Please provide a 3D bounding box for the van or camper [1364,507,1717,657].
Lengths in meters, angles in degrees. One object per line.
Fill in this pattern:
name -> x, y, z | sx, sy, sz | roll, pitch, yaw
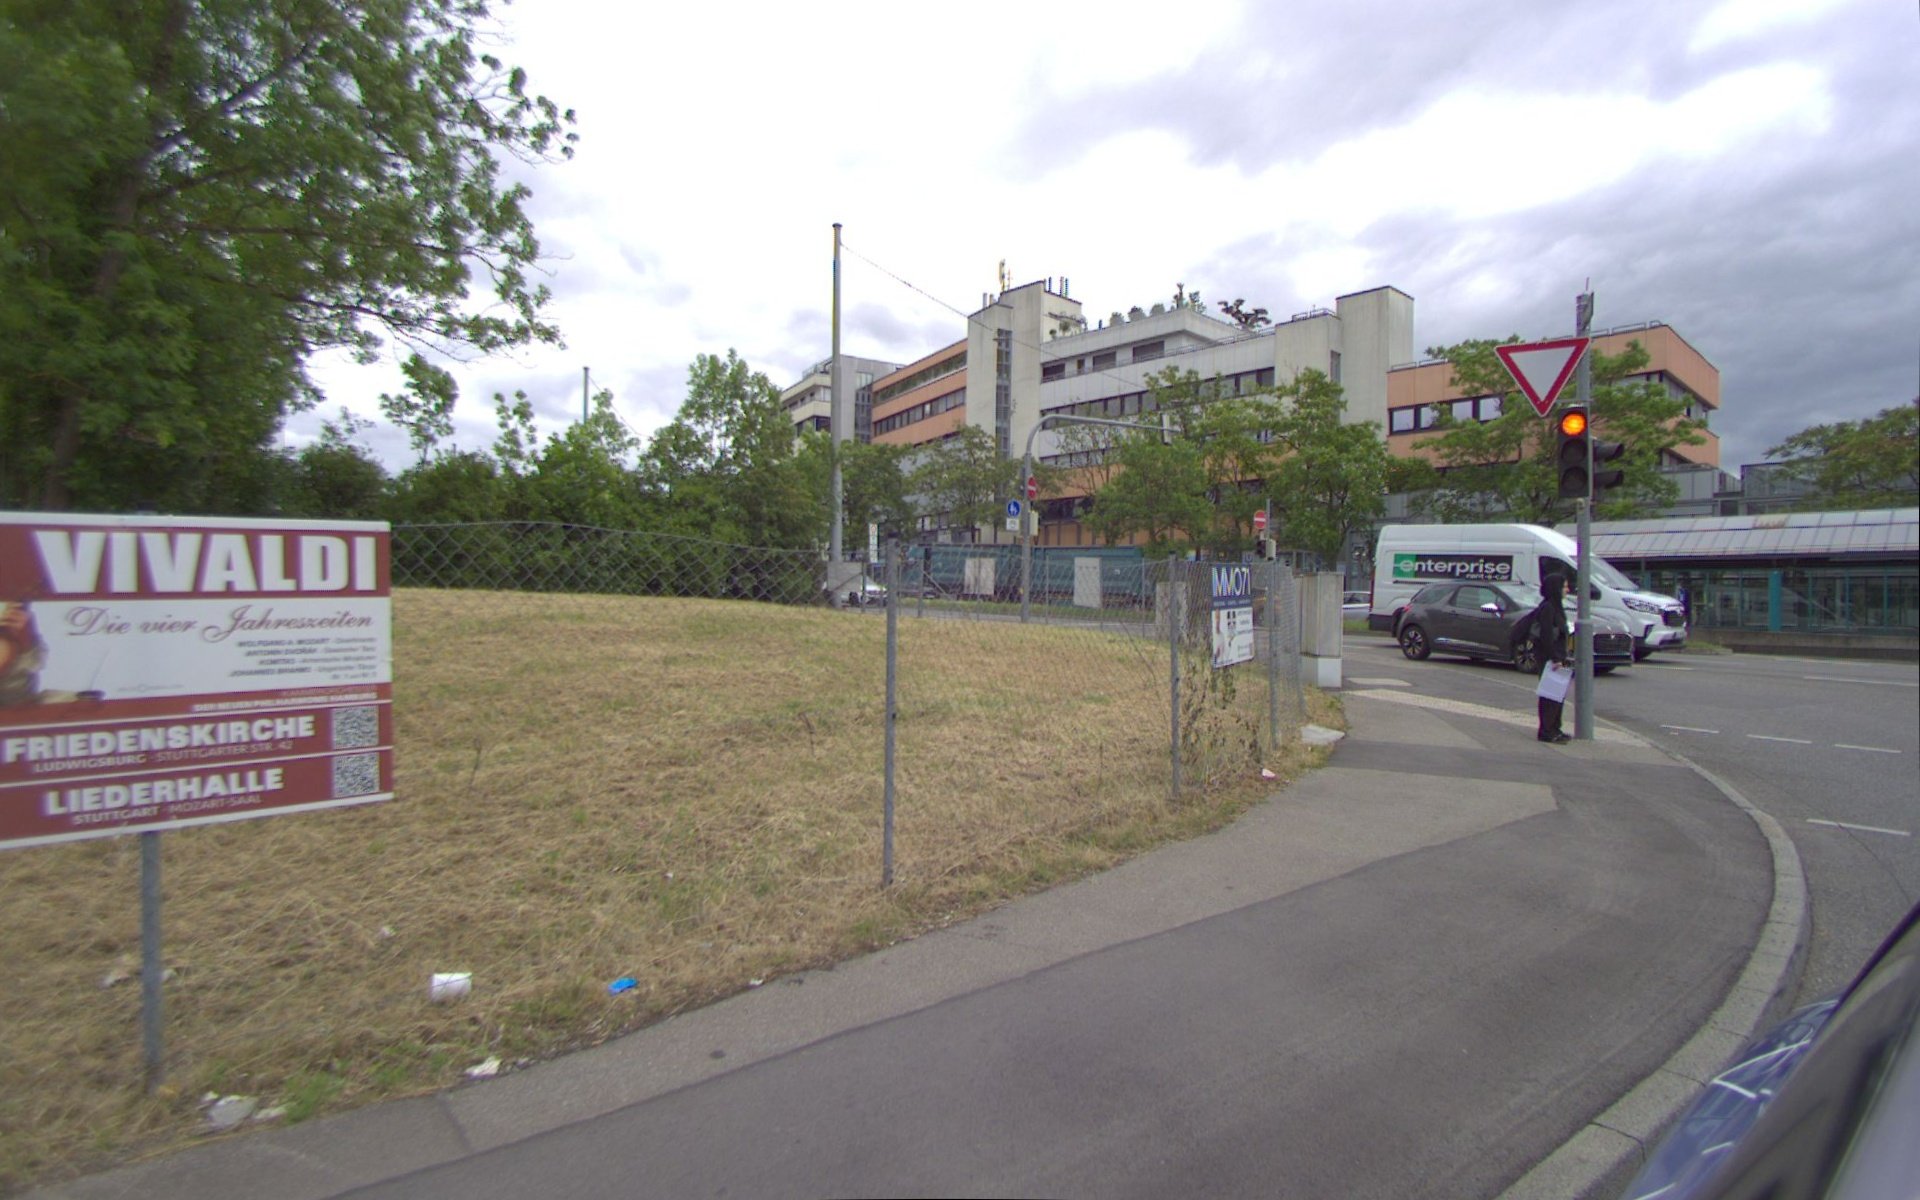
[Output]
van or camper -> 11.869, -0.504, 21.215 | 2.216, 2.705, 5.938 | 0, 3, -37

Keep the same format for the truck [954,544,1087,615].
truck -> 3.225, -1.121, 55.978 | 2.673, 3.627, 7.937 | -1, 1, -40

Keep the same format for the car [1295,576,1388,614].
car -> 14.109, -0.202, 37.538 | 1.270, 1.237, 2.996 | 0, 3, -38

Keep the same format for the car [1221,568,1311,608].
car -> 11.257, -0.468, 37.350 | 1.188, 1.328, 2.996 | 0, 3, -38

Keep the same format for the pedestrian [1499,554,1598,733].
pedestrian -> 5.577, 0.386, 9.588 | 0.660, 1.610, 0.553 | 0, 3, -40

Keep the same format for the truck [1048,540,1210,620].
truck -> 8.180, -1.002, 49.934 | 2.673, 3.627, 8.170 | -1, 1, -40

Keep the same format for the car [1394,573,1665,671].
car -> 9.380, 0.286, 17.021 | 1.613, 1.415, 3.790 | 1, 2, -20
